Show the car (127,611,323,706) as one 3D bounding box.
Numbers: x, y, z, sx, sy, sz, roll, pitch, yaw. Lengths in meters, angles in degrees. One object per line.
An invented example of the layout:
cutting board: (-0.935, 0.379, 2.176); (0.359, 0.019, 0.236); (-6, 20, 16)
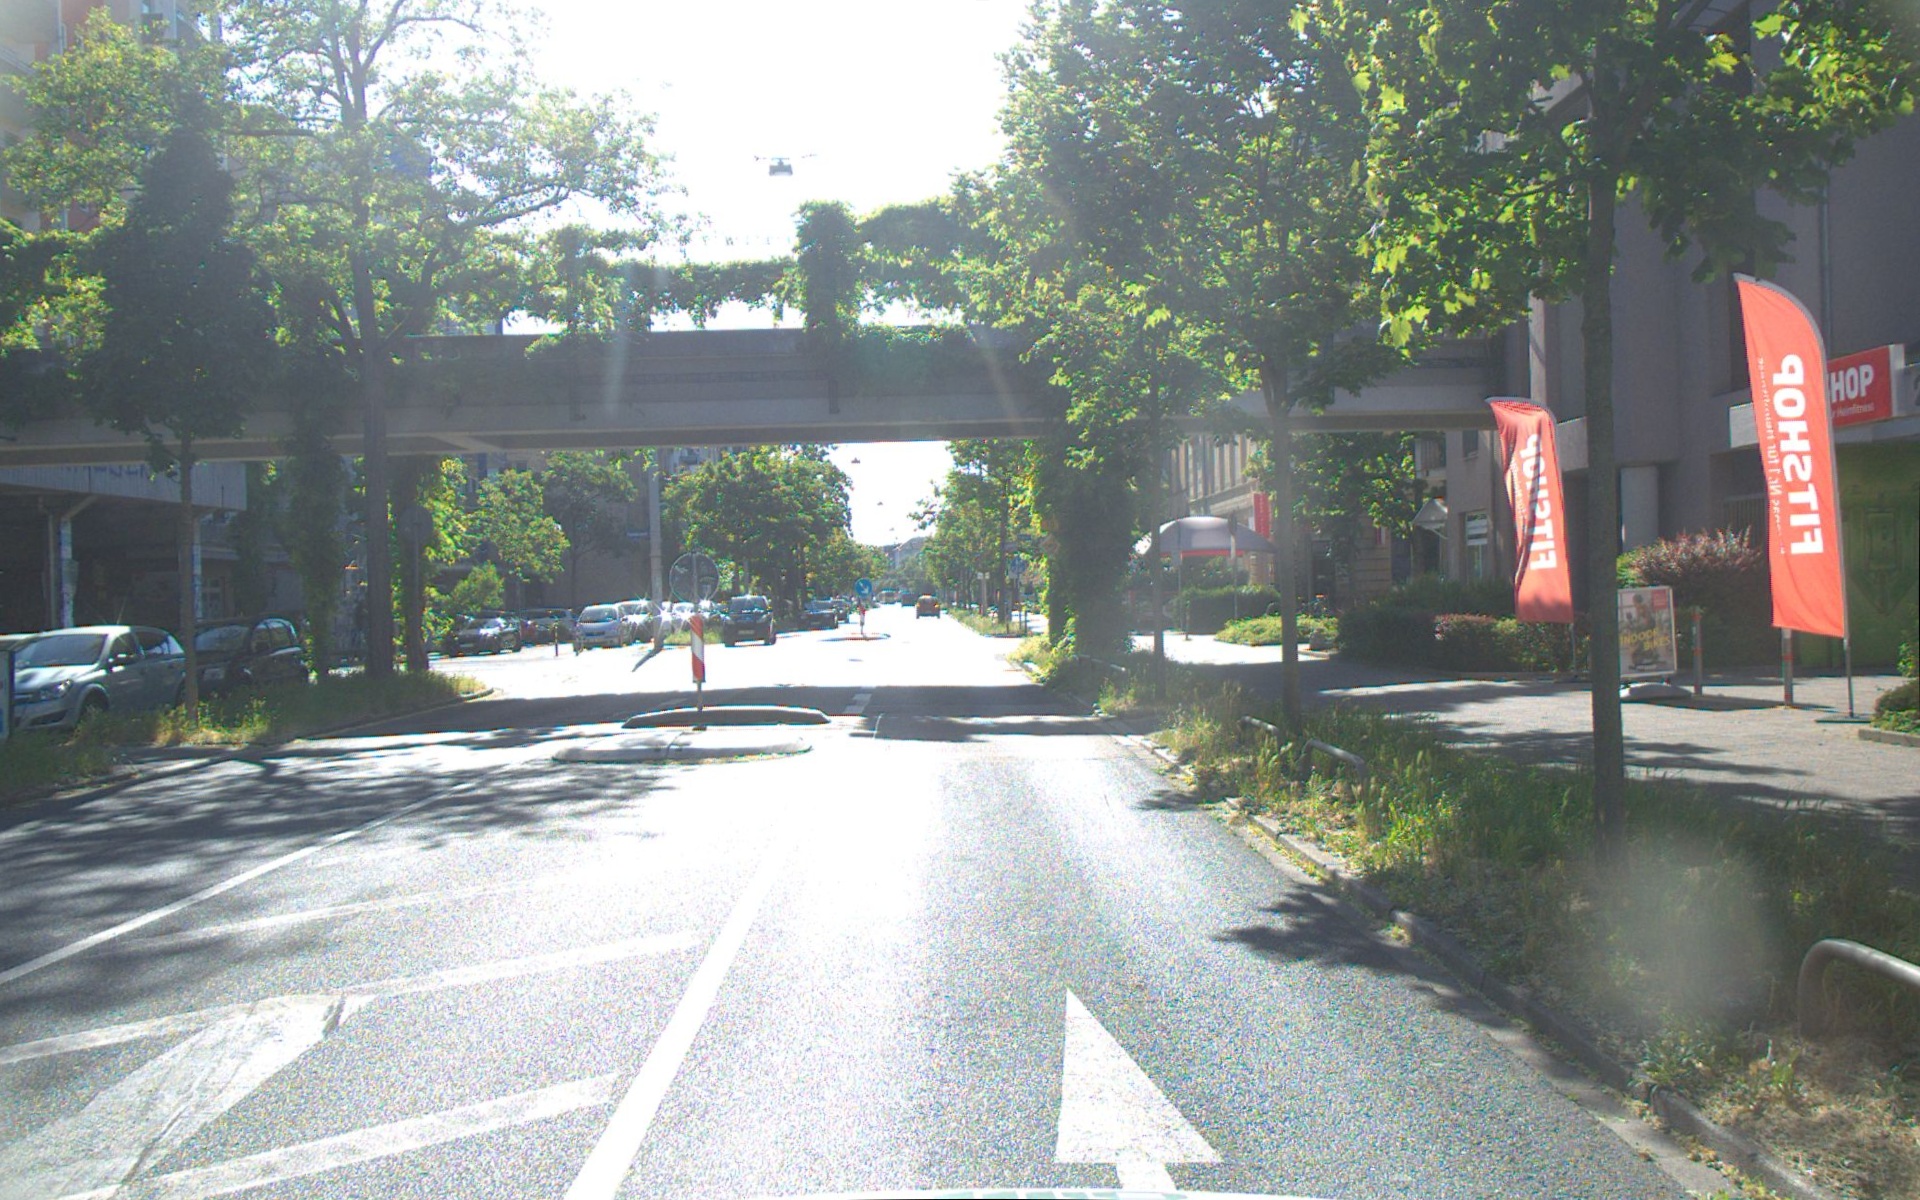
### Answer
car: (-11.476, 0.873, 26.084); (1.600, 1.330, 3.580); (-1, 0, -2)

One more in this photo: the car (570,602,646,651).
car: (-11.808, 0.861, 55.678); (1.818, 1.549, 4.075); (-1, 0, -2)

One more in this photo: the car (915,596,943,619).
car: (-2.131, 0.509, 114.042); (1.818, 1.549, 4.318); (-1, 0, 0)

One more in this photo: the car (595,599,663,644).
car: (-12.378, 0.777, 62.039); (1.818, 1.549, 4.316); (-1, 0, -2)

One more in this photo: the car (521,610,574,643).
car: (-21.040, 1.332, 84.506); (1.818, 1.549, 4.316); (-1, 0, -2)

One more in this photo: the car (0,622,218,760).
car: (-11.632, 1.125, 21.867); (1.818, 1.549, 4.316); (-1, 0, -2)

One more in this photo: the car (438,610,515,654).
car: (-18.420, 1.192, 63.237); (1.818, 1.549, 4.316); (-1, 0, -2)

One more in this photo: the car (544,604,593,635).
car: (-21.289, 1.049, 90.048); (1.818, 1.549, 4.316); (-1, 0, -2)

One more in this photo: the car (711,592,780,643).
car: (-6.869, 0.535, 53.373); (1.818, 1.549, 4.316); (-1, 0, -2)

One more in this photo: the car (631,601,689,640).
car: (-12.670, 0.848, 69.976); (1.818, 1.549, 4.316); (-1, 0, -2)

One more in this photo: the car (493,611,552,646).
car: (-20.979, 1.355, 79.503); (1.818, 1.549, 4.316); (-1, 0, -2)

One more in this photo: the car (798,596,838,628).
car: (-7.248, 0.585, 84.496); (1.818, 1.549, 4.316); (-1, 0, -2)
